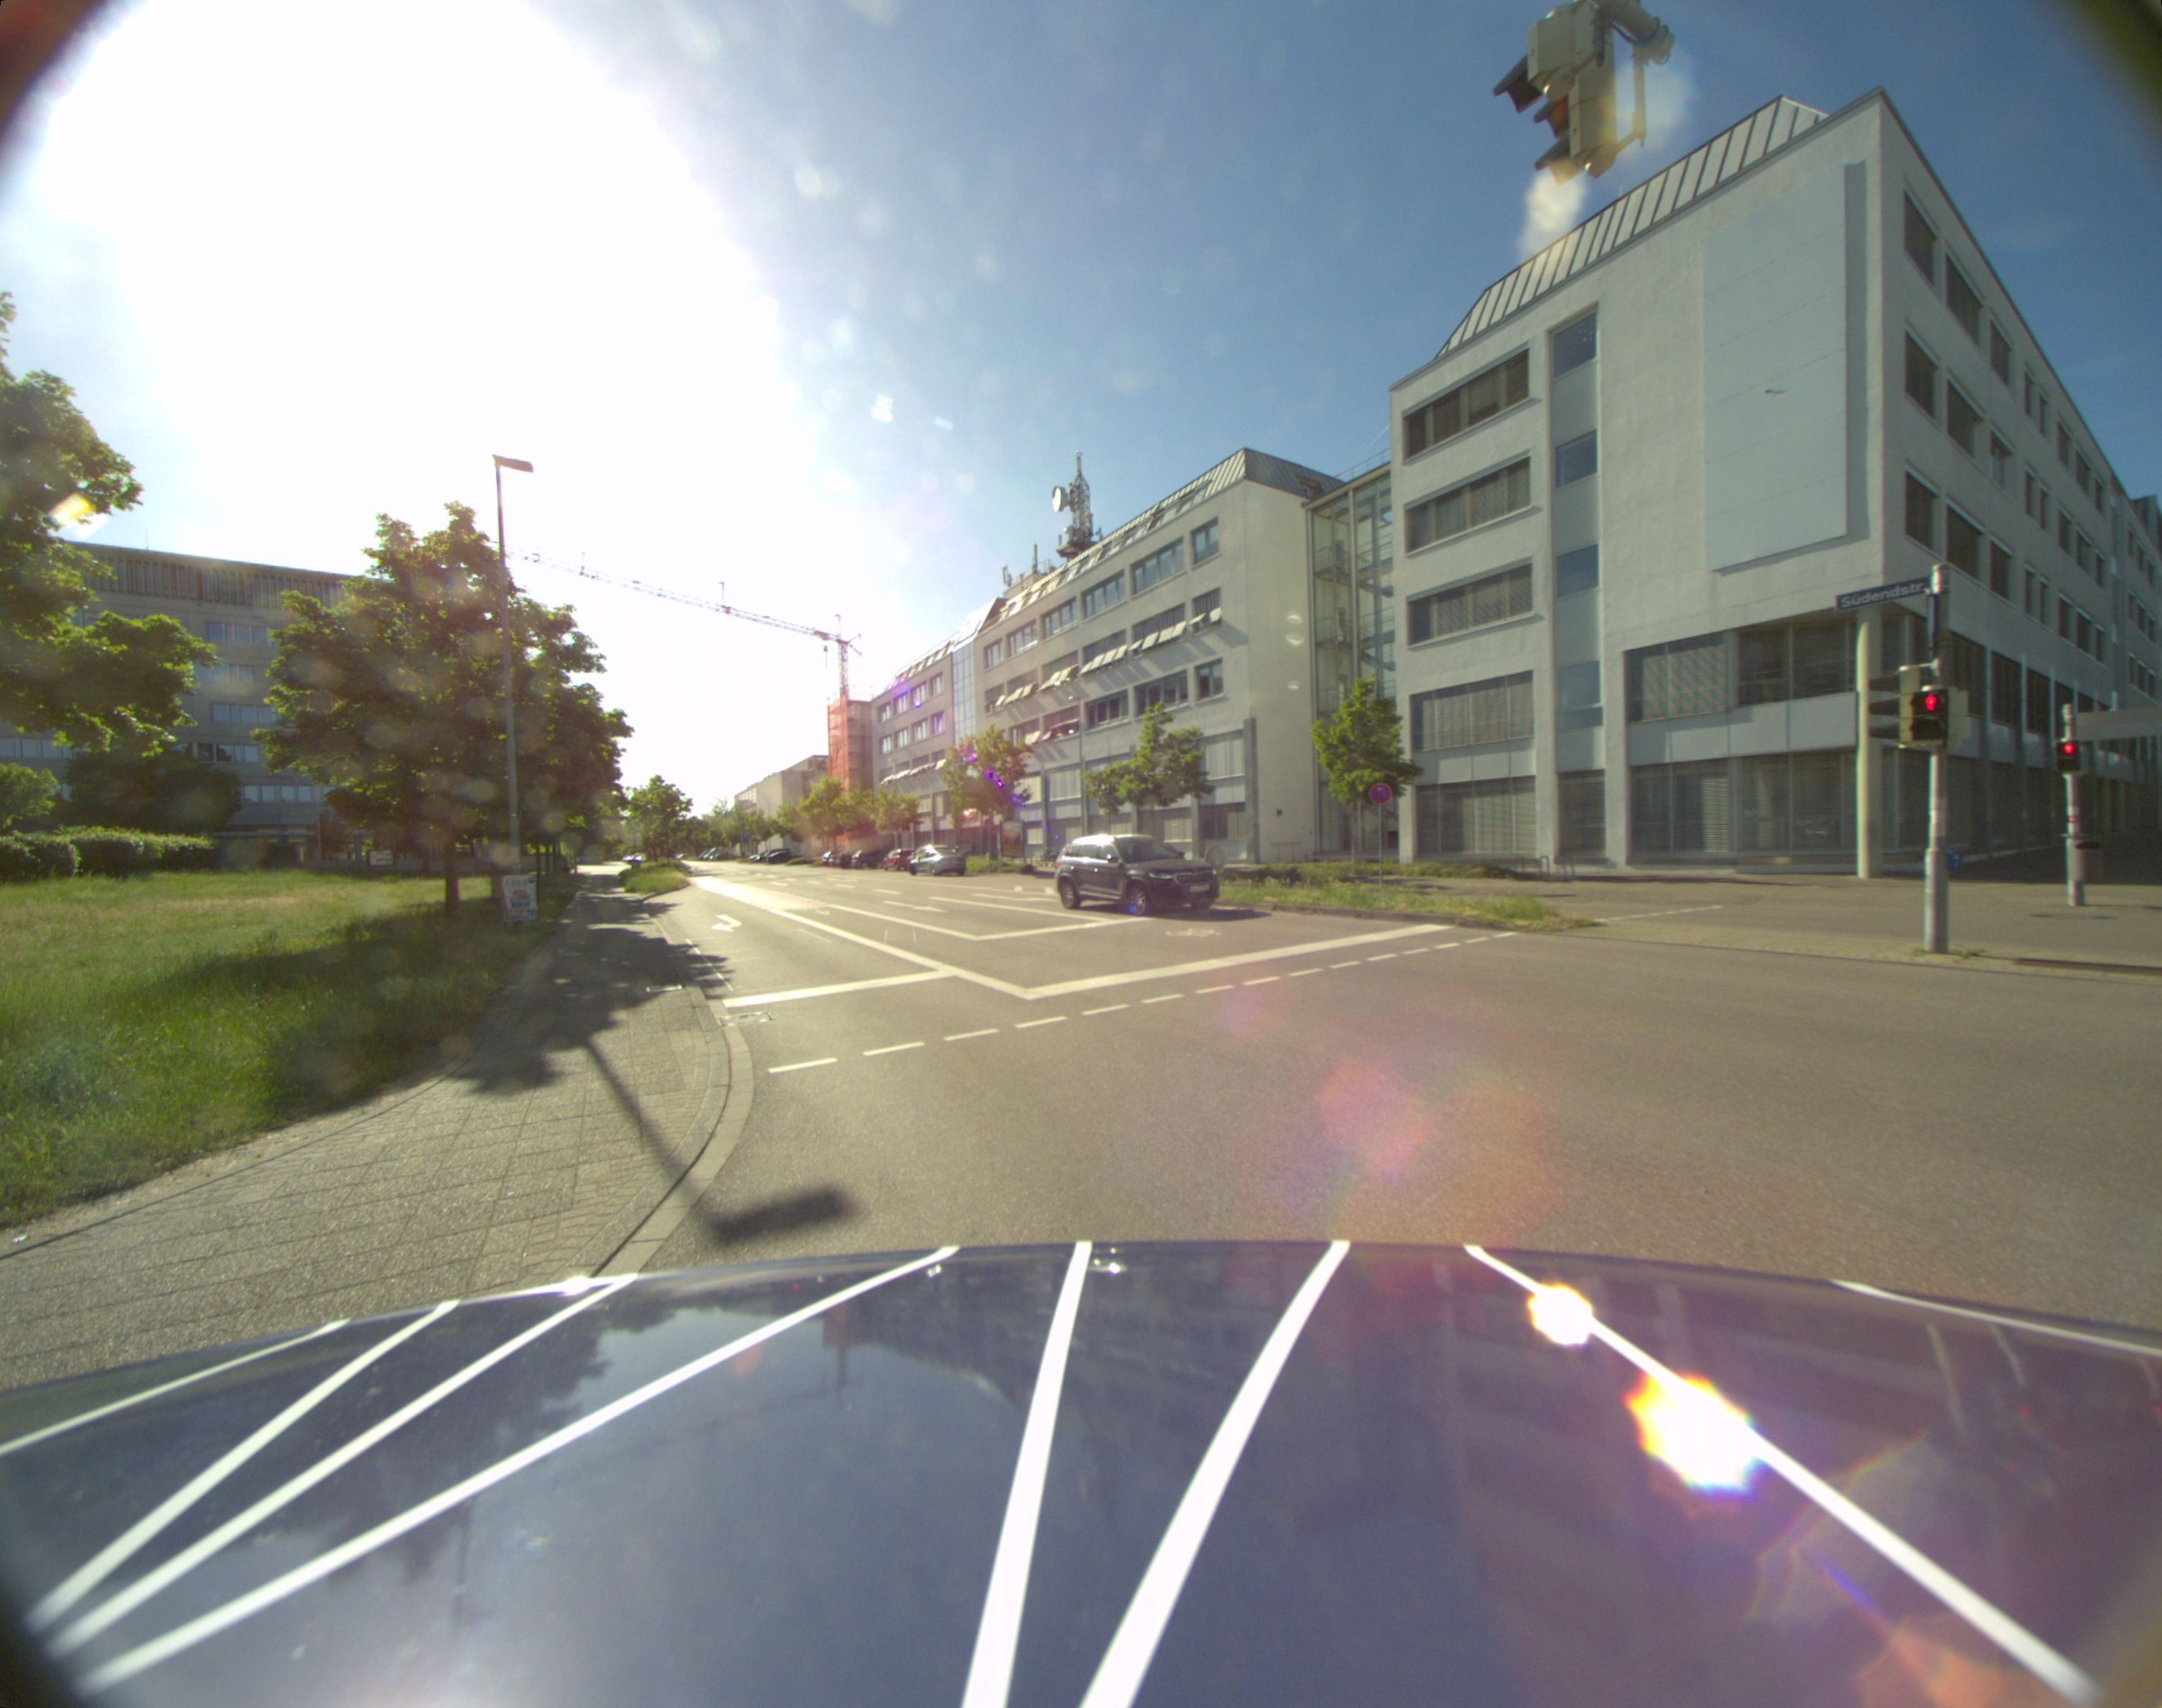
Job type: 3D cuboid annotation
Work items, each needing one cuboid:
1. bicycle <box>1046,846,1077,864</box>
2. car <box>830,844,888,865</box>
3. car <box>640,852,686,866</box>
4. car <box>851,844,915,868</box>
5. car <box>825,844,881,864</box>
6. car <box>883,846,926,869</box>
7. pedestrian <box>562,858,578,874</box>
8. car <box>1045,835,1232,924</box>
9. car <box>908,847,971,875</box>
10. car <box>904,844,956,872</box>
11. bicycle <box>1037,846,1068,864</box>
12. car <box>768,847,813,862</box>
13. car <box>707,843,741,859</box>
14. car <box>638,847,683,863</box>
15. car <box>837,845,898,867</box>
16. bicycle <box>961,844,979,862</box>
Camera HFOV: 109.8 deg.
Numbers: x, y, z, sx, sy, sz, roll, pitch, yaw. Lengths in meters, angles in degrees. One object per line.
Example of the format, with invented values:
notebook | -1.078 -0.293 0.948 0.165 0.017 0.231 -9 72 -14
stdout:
bicycle | -1.188 0.063 45.933 1.796 1.063 0.620 -1 1 -24
car | -19.196 0.038 65.673 4.405 1.424 1.689 -5 3 -31
car | -46.775 0.498 85.072 4.423 1.455 1.890 -1 1 -31
car | -15.439 0.120 59.364 4.406 1.530 1.689 -5 3 -36
car | -20.257 -0.013 67.518 4.405 1.424 1.689 -5 3 -31
car | -12.267 0.205 52.616 1.696 1.424 3.862 -5 3 -31
pedestrian | -37.588 0.872 55.877 0.849 1.210 0.726 -1 1 -44
car | 1.120 0.475 17.006 1.762 1.619 4.466 -5 3 -32
car | -7.953 0.363 42.376 1.696 1.460 4.535 -2 1 -34
car | -9.674 0.230 48.375 1.696 1.598 4.299 -5 3 -33
bicycle | -1.745 0.081 46.498 1.775 1.063 0.554 -1 1 -24
car | -33.447 0.063 87.589 4.406 1.424 1.972 -5 3 -35
car | -67.229 -0.555 143.184 5.594 2.469 2.005 -5 3 -29
car | -48.121 0.091 86.916 4.423 1.632 2.069 -1 1 -31
car | -17.325 0.175 61.778 4.406 1.424 1.689 -5 3 -34
bicycle | -8.432 -0.076 57.657 0.712 1.339 2.227 -1 1 -26
